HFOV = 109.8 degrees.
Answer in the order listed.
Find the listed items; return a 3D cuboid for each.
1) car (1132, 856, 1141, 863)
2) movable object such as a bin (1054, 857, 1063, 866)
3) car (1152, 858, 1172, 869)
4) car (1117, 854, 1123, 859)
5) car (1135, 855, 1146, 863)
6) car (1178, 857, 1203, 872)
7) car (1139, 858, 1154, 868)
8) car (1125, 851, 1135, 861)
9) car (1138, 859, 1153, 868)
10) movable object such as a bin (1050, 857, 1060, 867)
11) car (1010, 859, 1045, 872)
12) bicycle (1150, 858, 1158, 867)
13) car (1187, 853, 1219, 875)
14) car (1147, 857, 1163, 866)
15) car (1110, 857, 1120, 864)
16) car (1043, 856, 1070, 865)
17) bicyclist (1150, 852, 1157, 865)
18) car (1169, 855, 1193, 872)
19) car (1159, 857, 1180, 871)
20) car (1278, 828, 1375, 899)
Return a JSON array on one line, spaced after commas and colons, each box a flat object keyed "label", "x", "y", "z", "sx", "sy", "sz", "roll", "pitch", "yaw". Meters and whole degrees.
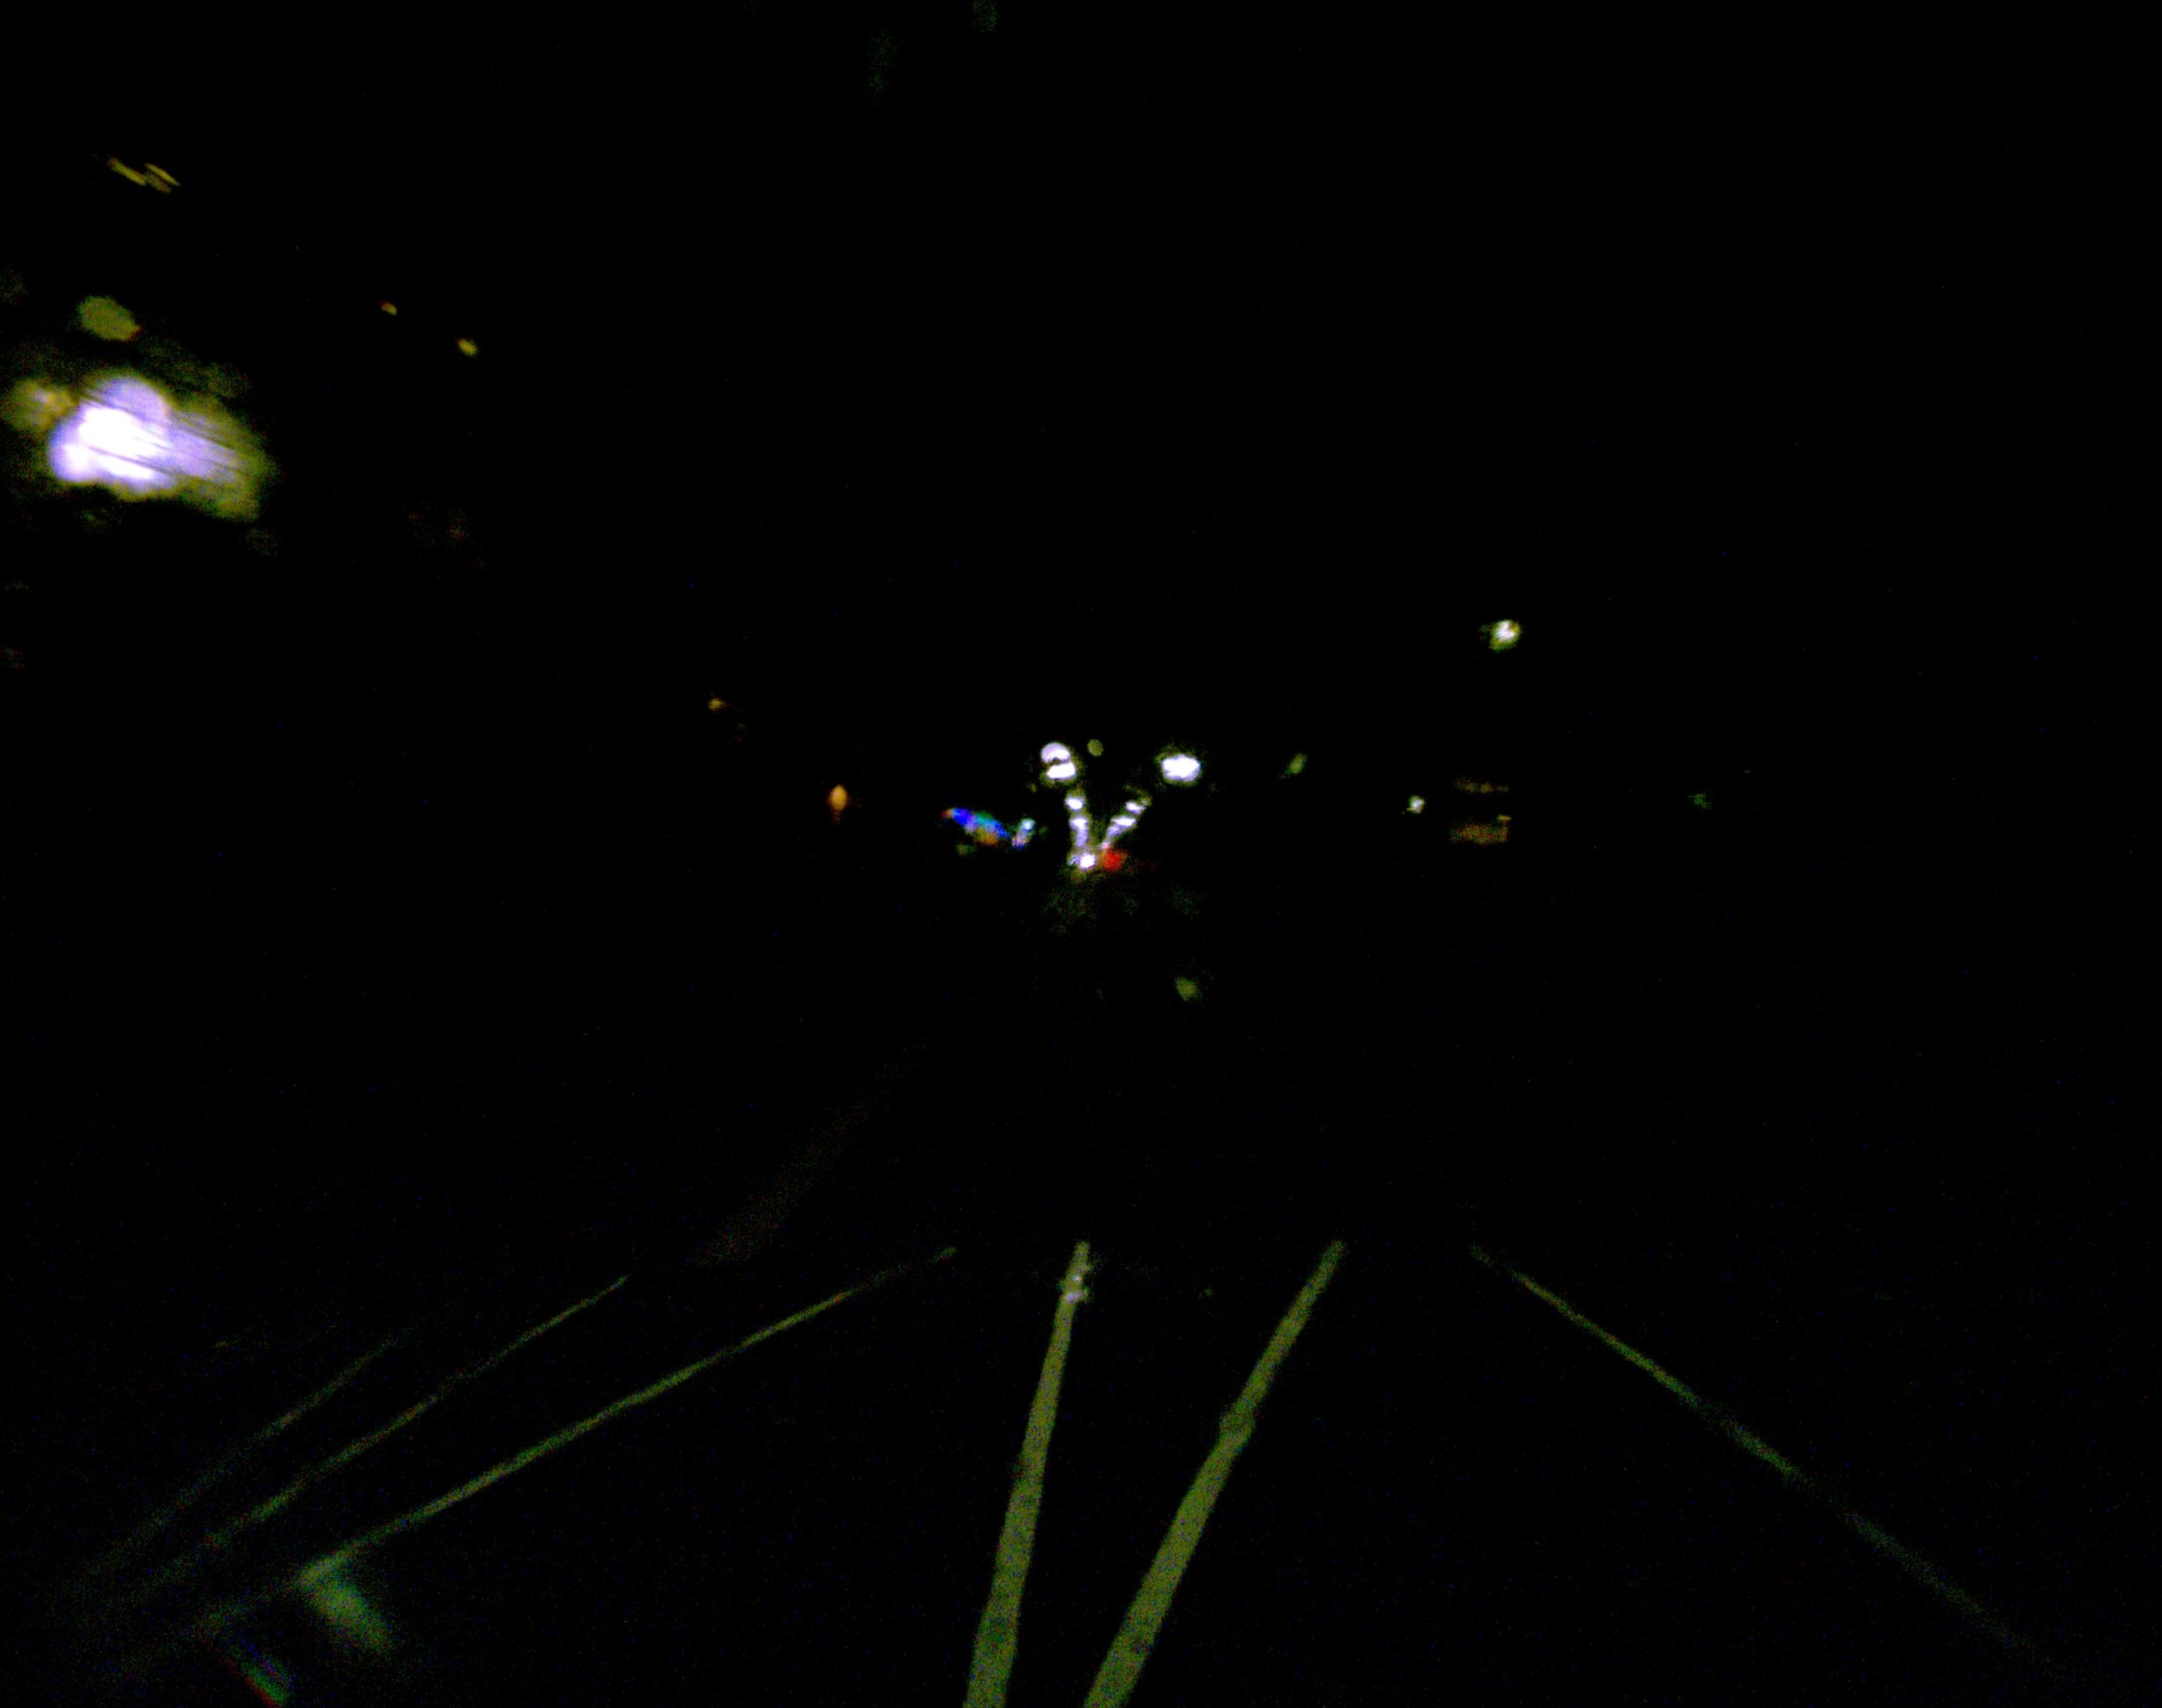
[{"label": "car", "x": 12.186, "y": 1.252, "z": 166.809, "sx": 1.723, "sy": 1.447, "sz": 3.950, "roll": -1, "pitch": 0, "yaw": 0}, {"label": "movable object such as a bin", "x": -3.530, "y": 1.194, "z": 118.986, "sx": 1.326, "sy": 1.400, "sz": 1.159, "roll": 1, "pitch": 1, "yaw": -4}, {"label": "car", "x": 11.338, "y": 1.270, "z": 106.569, "sx": 1.893, "sy": 1.454, "sz": 4.958, "roll": 0, "pitch": 0, "yaw": -3}, {"label": "car", "x": 12.433, "y": 0.808, "z": 242.280, "sx": 1.693, "sy": 1.565, "sz": 3.918, "roll": -1, "pitch": 0, "yaw": 1}, {"label": "car", "x": 12.382, "y": 1.107, "z": 157.887, "sx": 1.814, "sy": 1.569, "sz": 4.353, "roll": -4, "pitch": 0, "yaw": 1}, {"label": "car", "x": 10.510, "y": 1.026, "z": 73.272, "sx": 1.695, "sy": 1.413, "sz": 3.914, "roll": 0, "pitch": 0, "yaw": -2}, {"label": "car", "x": 11.857, "y": 1.679, "z": 137.820, "sx": 2.149, "sy": 1.610, "sz": 4.589, "roll": -3, "pitch": 0, "yaw": 1}, {"label": "car", "x": 12.879, "y": 0.458, "z": 200.207, "sx": 2.248, "sy": 2.494, "sz": 5.259, "roll": -3, "pitch": 0, "yaw": -2}, {"label": "car", "x": 10.696, "y": 1.559, "z": 126.473, "sx": 1.778, "sy": 1.432, "sz": 4.606, "roll": 0, "pitch": 0, "yaw": -3}, {"label": "movable object such as a bin", "x": -3.951, "y": 1.203, "z": 116.729, "sx": 1.371, "sy": 1.414, "sz": 1.073, "roll": 1, "pitch": 1, "yaw": 6}, {"label": "car", "x": -7.053, "y": 1.481, "z": 100.066, "sx": 4.111, "sy": 1.528, "sz": 1.956, "roll": -1, "pitch": 1, "yaw": -24}, {"label": "bicycle", "x": 9.134, "y": 1.042, "z": 95.375, "sx": 0.784, "sy": 1.076, "sz": 1.918, "roll": 1, "pitch": 0, "yaw": 1}, {"label": "car", "x": 9.952, "y": 0.805, "z": 62.229, "sx": 1.974, "sy": 1.646, "sz": 4.601, "roll": -3, "pitch": 0, "yaw": 2}, {"label": "car", "x": 11.348, "y": 1.164, "z": 117.104, "sx": 1.845, "sy": 1.415, "sz": 4.208, "roll": 0, "pitch": 0, "yaw": -2}, {"label": "car", "x": 7.068, "y": 1.315, "z": 158.275, "sx": 1.780, "sy": 1.509, "sz": 4.051, "roll": -1, "pitch": 0, "yaw": 1}, {"label": "car", "x": -4.393, "y": 1.165, "z": 137.850, "sx": 4.604, "sy": 1.467, "sz": 1.837, "roll": 0, "pitch": 0, "yaw": -19}, {"label": "bicyclist", "x": 9.140, "y": 0.537, "z": 95.364, "sx": 0.784, "sy": 1.646, "sz": 1.206, "roll": 1, "pitch": 1, "yaw": 1}, {"label": "car", "x": 10.572, "y": 0.992, "z": 80.674, "sx": 1.988, "sy": 1.621, "sz": 4.517, "roll": -1, "pitch": 0, "yaw": 1}, {"label": "car", "x": 10.942, "y": 1.208, "z": 94.173, "sx": 1.885, "sy": 1.536, "sz": 4.398, "roll": -4, "pitch": 0, "yaw": -2}, {"label": "car", "x": 9.895, "y": 0.397, "z": 31.231, "sx": 2.190, "sy": 2.576, "sz": 6.393, "roll": -1, "pitch": 0, "yaw": 3}]
